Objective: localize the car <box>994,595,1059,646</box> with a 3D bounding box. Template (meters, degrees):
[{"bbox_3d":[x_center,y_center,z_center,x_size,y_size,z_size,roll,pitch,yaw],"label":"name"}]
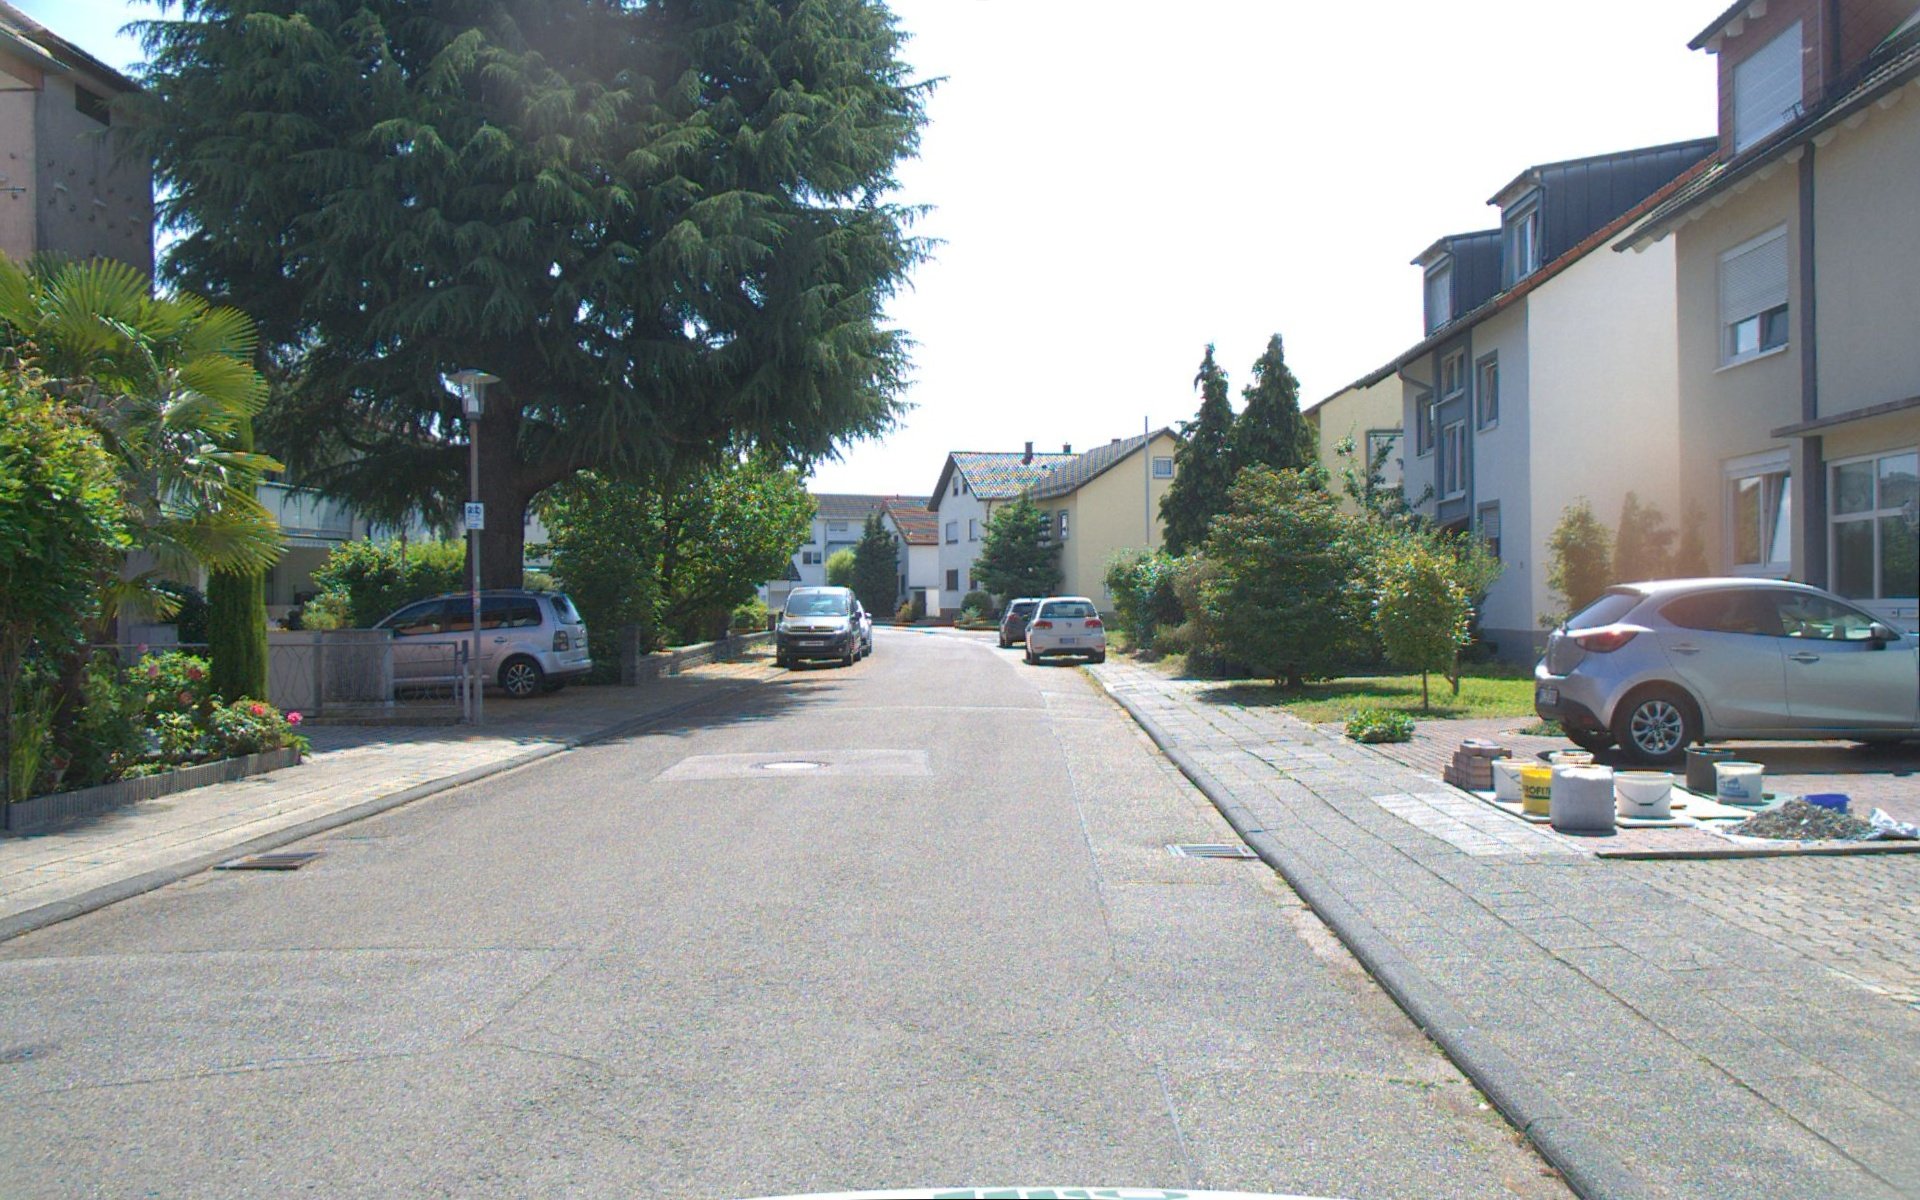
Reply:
[{"bbox_3d":[2.037,0.613,51.598,1.771,1.521,3.999,-1,0,-1],"label":"car"}]

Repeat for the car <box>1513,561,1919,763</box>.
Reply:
[{"bbox_3d":[6.909,0.478,14.039,3.832,1.536,1.774,-2,0,2],"label":"car"}]

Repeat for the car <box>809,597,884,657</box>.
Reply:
[{"bbox_3d":[-3.009,0.687,44.528,1.771,1.521,3.999,-1,0,-1],"label":"car"}]

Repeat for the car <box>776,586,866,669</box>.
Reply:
[{"bbox_3d":[-3.171,0.592,38.371,1.771,1.793,4.206,-1,0,-1],"label":"car"}]

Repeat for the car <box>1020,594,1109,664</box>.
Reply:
[{"bbox_3d":[2.399,0.643,38.849,1.771,1.521,3.999,-1,0,-1],"label":"car"}]

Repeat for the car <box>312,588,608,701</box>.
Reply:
[{"bbox_3d":[-7.892,0.681,26.337,4.104,1.682,1.815,-1,0,4],"label":"car"}]
